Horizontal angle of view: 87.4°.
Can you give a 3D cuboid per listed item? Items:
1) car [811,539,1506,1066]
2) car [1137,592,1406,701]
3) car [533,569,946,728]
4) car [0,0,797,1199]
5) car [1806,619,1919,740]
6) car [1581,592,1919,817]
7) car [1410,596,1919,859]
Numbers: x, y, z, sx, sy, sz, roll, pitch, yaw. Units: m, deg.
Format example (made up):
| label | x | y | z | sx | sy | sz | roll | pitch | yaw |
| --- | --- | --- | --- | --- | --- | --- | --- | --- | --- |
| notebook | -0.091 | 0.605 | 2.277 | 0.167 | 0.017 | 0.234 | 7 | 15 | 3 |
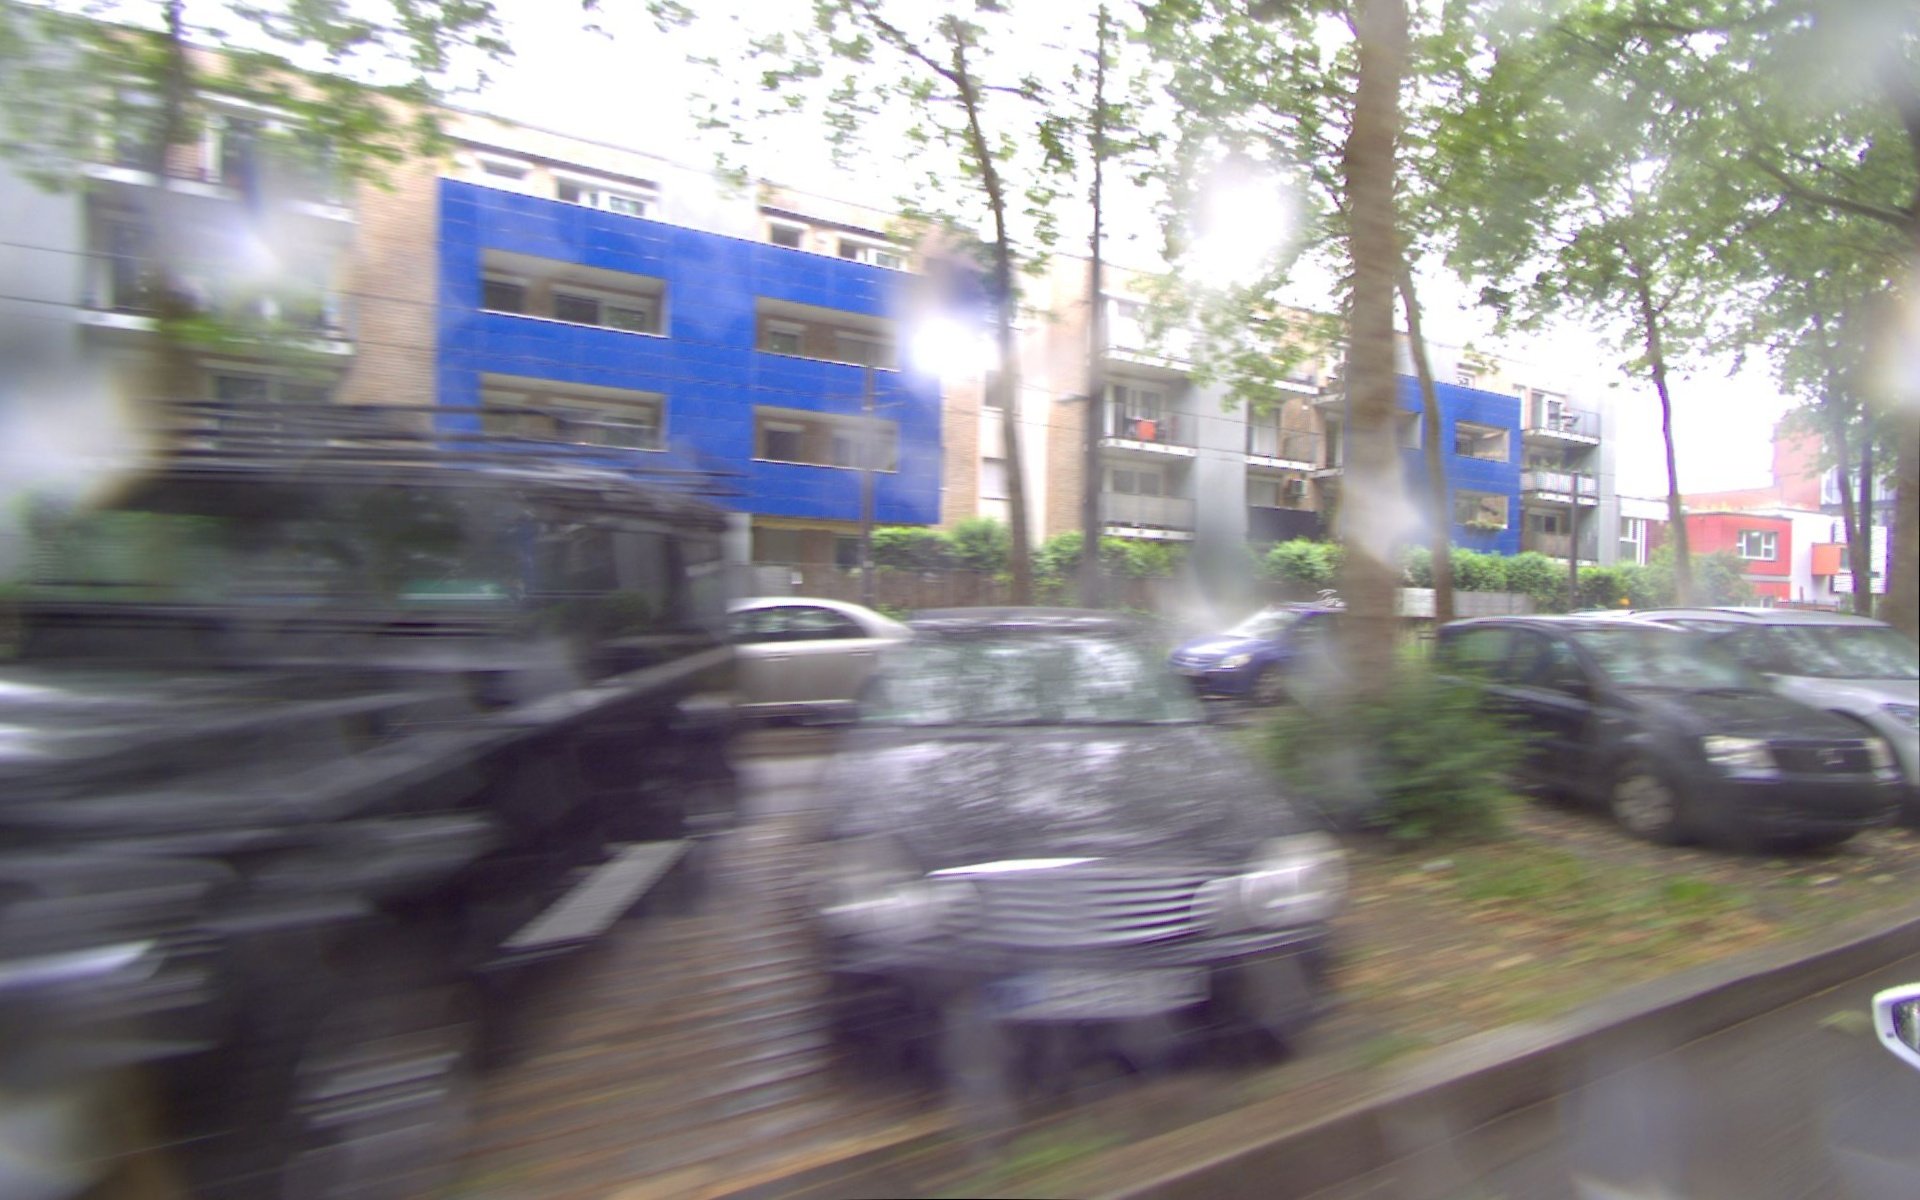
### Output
| label | x | y | z | sx | sy | sz | roll | pitch | yaw |
| --- | --- | --- | --- | --- | --- | --- | --- | --- | --- |
| car | 0.444 | 0.555 | 4.928 | 1.811 | 1.343 | 4.659 | 0 | -1 | -2 |
| car | 5.077 | 0.677 | 16.253 | 4.168 | 1.554 | 1.894 | 1 | 0 | -32 |
| car | -2.512 | 0.488 | 11.759 | 4.371 | 1.554 | 1.894 | 1 | 0 | -32 |
| car | -2.027 | 0.151 | 3.827 | 1.972 | 2.313 | 4.661 | 0 | -1 | 1 |
| car | 13.105 | 1.040 | 12.720 | 1.709 | 1.499 | 3.654 | 0 | 1 | 1 |
| car | 7.611 | 0.721 | 8.843 | 1.799 | 1.558 | 4.065 | 0 | 0 | 1 |
| car | 5.147 | 0.753 | 7.543 | 1.612 | 1.487 | 3.507 | 0 | -1 | -8 |
